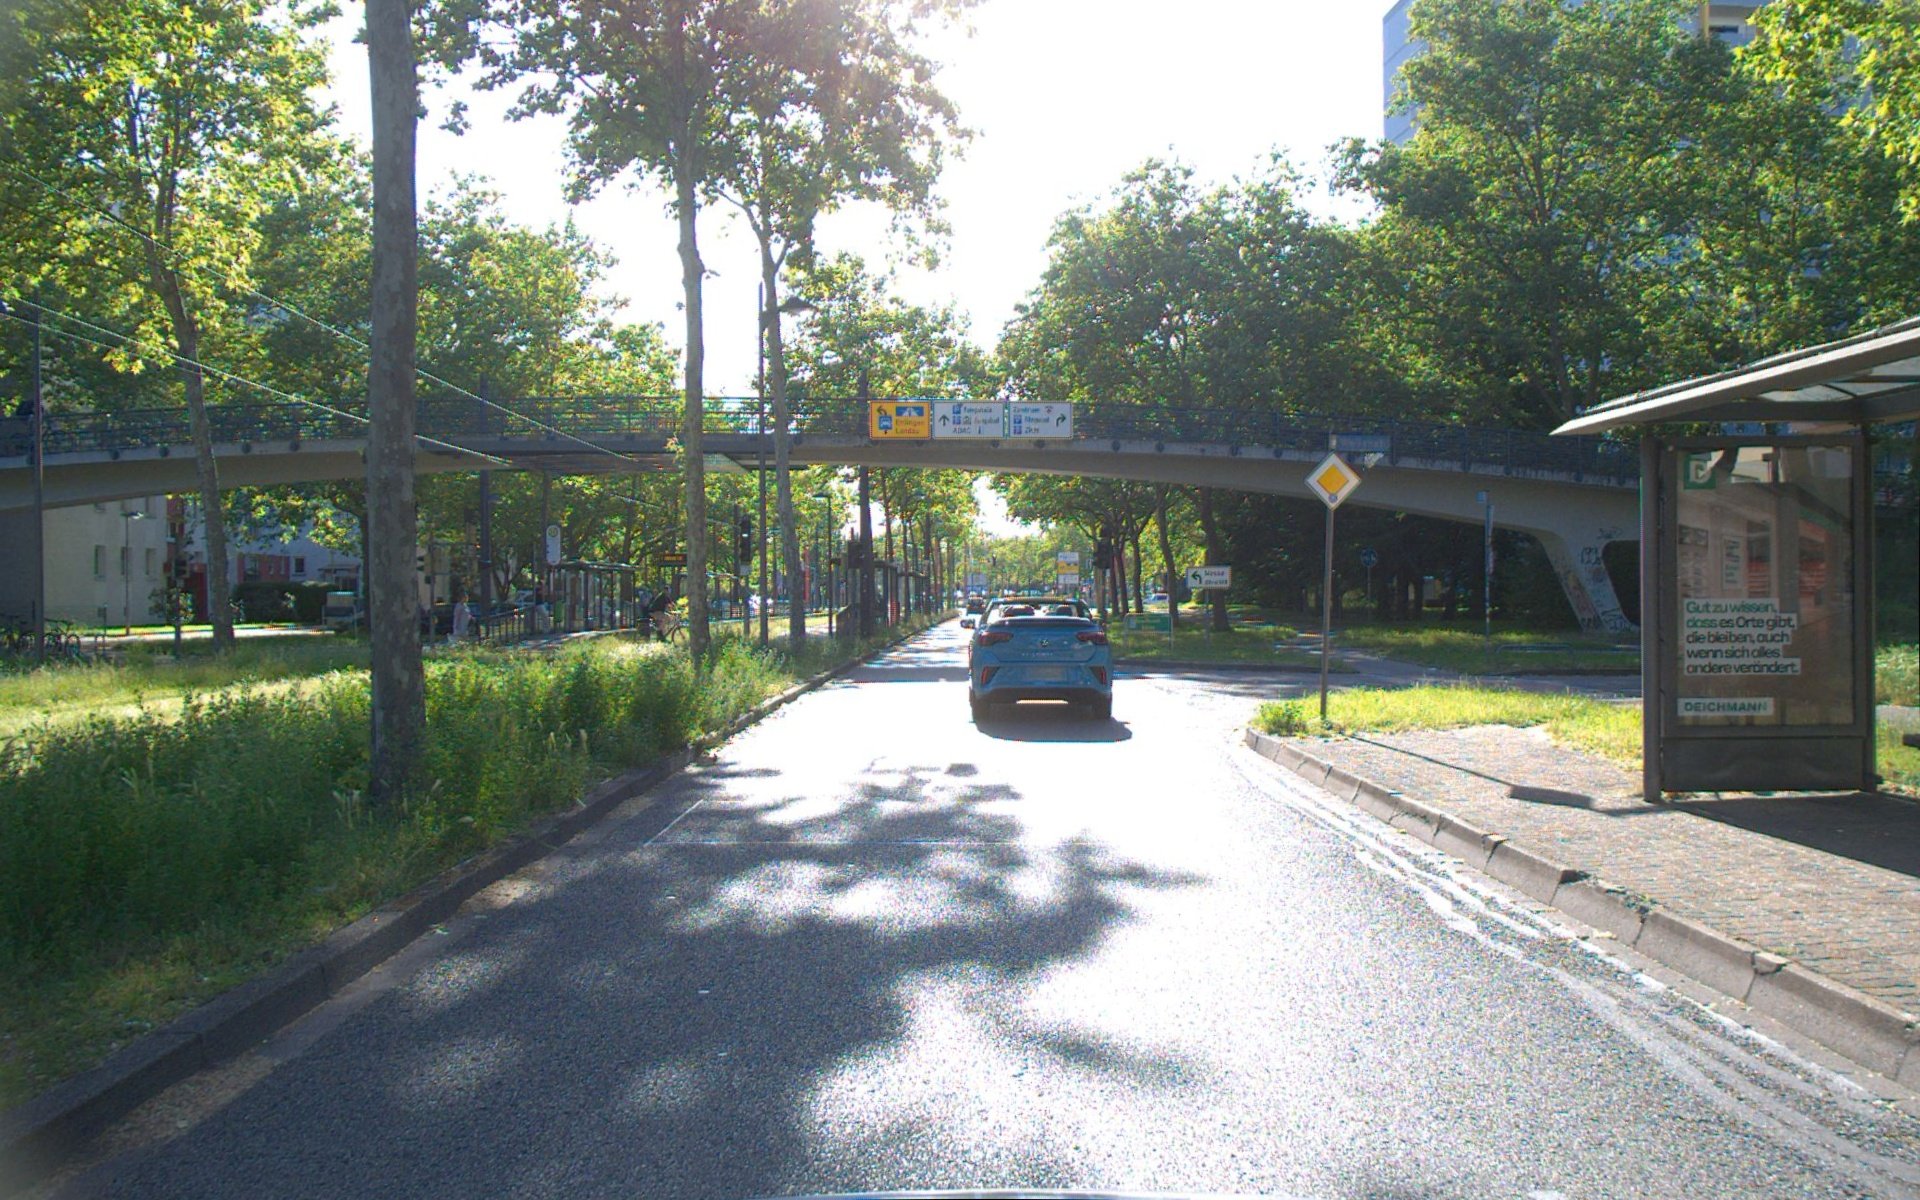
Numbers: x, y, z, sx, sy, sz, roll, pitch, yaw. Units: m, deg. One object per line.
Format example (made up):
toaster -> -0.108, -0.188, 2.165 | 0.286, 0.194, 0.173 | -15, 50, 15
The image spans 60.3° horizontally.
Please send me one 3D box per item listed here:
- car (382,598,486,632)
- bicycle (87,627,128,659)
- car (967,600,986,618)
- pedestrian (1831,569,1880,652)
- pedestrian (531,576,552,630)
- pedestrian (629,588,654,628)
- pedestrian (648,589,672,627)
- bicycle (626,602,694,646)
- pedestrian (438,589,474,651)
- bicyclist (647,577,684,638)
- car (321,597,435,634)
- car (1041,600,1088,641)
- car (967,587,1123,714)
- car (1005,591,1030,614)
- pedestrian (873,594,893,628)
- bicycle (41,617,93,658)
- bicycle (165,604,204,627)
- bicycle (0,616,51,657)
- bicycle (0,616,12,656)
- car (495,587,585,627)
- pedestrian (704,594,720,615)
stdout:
car -> -23.802, 0.695, 74.936 | 4.157, 1.453, 1.677 | 1, 1, -38
bicycle -> -22.065, 1.115, 42.823 | 0.425, 0.792, 1.174 | 1, 0, 0
car -> 1.473, 0.827, 148.718 | 1.675, 1.631, 3.349 | 0, 0, 0
pedestrian -> 19.830, 0.228, 36.630 | 0.646, 1.808, 0.738 | -1, 1, -9
pedestrian -> -14.100, 0.113, 55.744 | 0.499, 1.801, 0.477 | 1, -1, -40
pedestrian -> -13.223, 0.340, 68.745 | 0.702, 1.663, 0.728 | -2, -1, 38
pedestrian -> -12.293, 0.324, 67.753 | 0.668, 1.540, 0.644 | -2, 0, 25
bicycle -> -8.426, 0.665, 46.479 | 1.795, 1.167, 0.814 | 1, 1, -6
pedestrian -> -14.067, 0.548, 46.182 | 0.710, 1.703, 1.048 | 1, -1, -3
bicyclist -> -8.272, 0.199, 46.493 | 0.935, 1.660, 0.814 | 1, 1, -5
car -> -24.025, 0.650, 68.350 | 4.157, 1.453, 1.677 | 1, 1, -38
car -> 4.806, 0.934, 76.477 | 1.941, 1.823, 4.614 | 0, 0, 1
car -> 1.020, 0.592, 21.708 | 1.740, 1.509, 4.099 | 0, 0, -2
car -> 3.912, 0.181, 113.002 | 1.605, 1.520, 3.503 | 1, 1, 0
pedestrian -> -2.988, 0.430, 63.812 | 0.719, 1.274, 0.587 | 1, -1, -5
bicycle -> -23.432, 0.976, 43.439 | 0.425, 1.026, 1.686 | 1, 0, 0
bicycle -> -35.789, 0.701, 76.379 | 0.681, 0.944, 2.594 | 1, 1, -3
bicycle -> -24.837, 0.957, 43.921 | 0.425, 1.026, 1.686 | 1, 0, 0
bicycle -> -25.245, 0.944, 42.788 | 0.425, 1.026, 1.686 | 1, 0, 0
car -> -23.166, 0.413, 91.321 | 4.454, 2.099, 1.874 | 1, 1, -38
pedestrian -> -13.812, 0.264, 92.069 | 0.680, 1.147, 0.662 | -3, -1, 1
